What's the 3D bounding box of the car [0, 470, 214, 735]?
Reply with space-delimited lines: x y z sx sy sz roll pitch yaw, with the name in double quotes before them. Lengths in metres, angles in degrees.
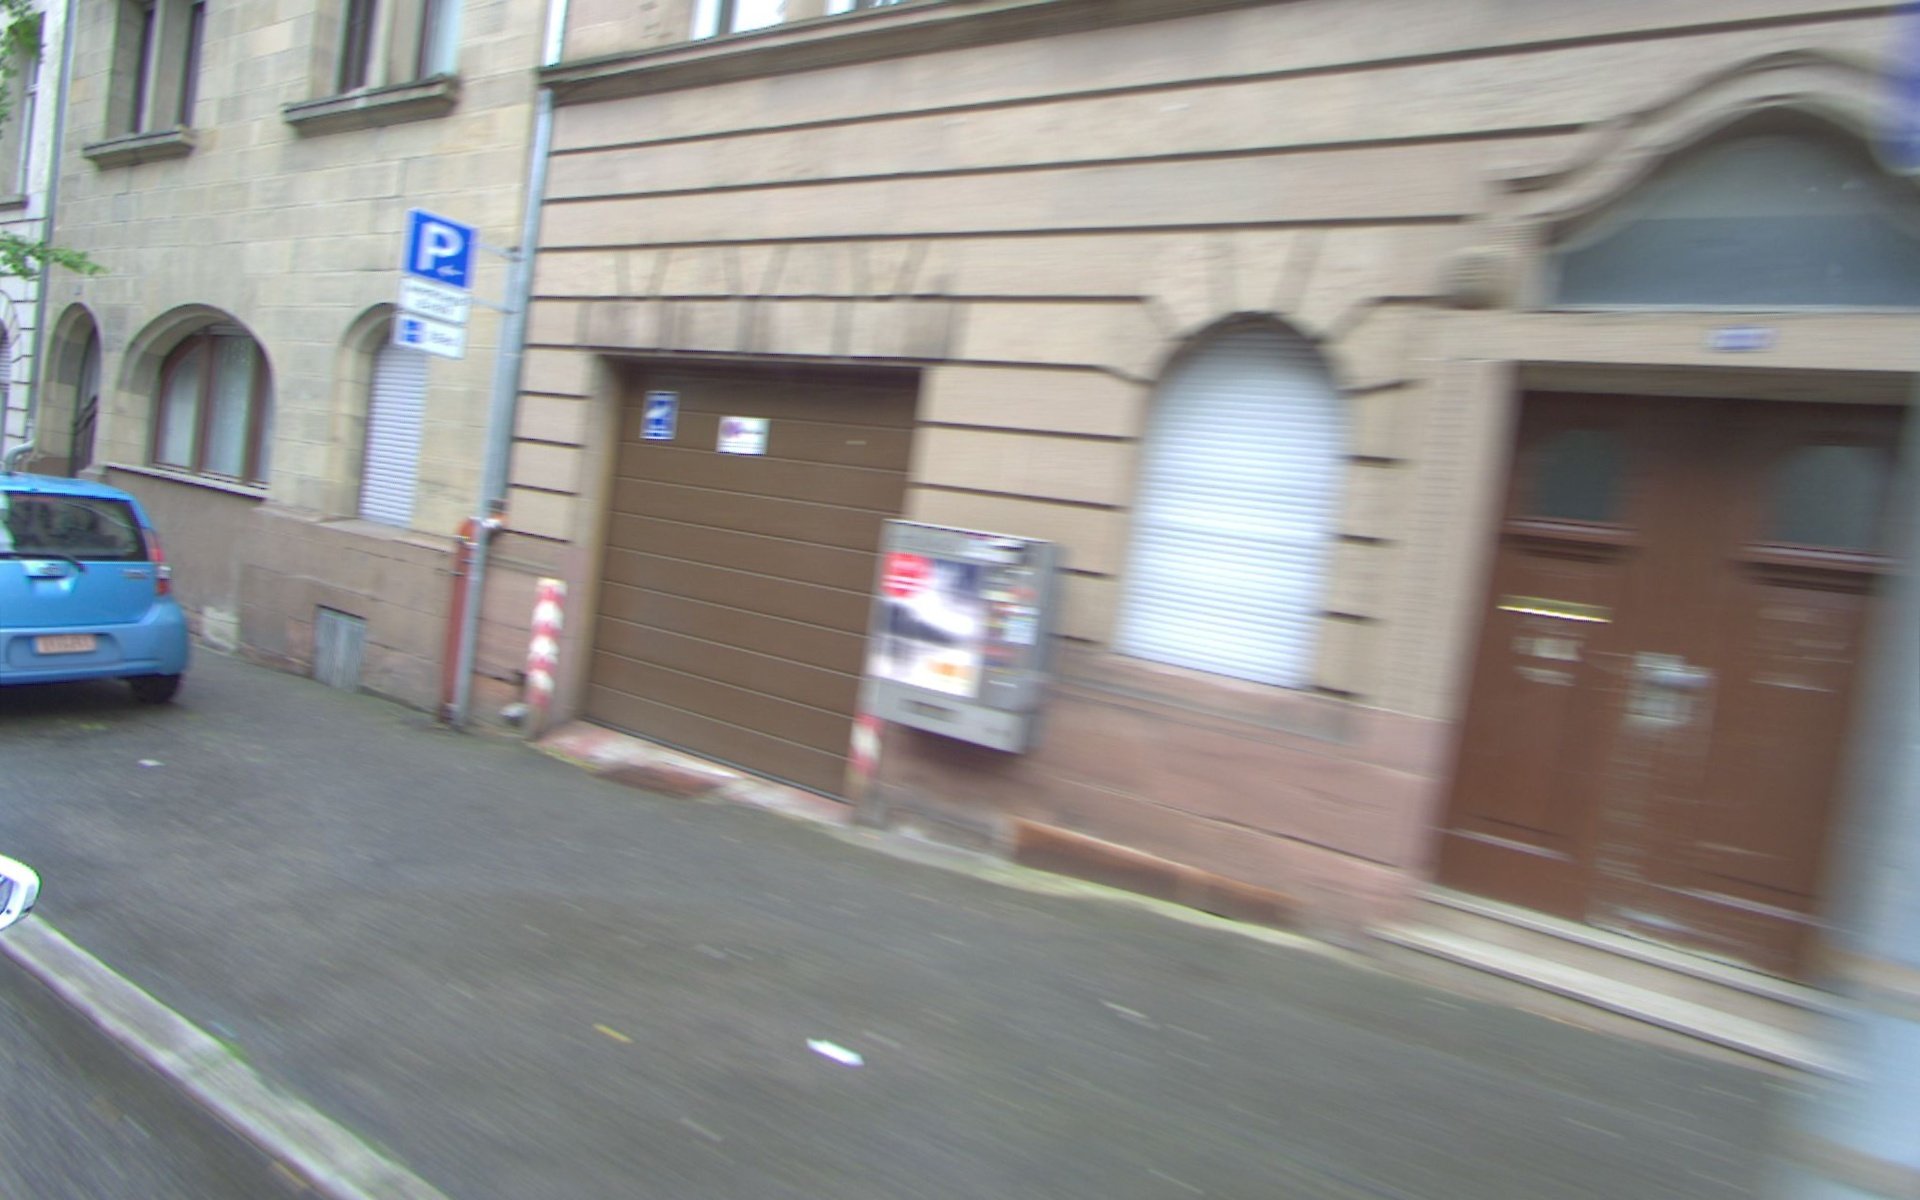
"car" -7.070 -0.150 7.027 3.603 1.563 1.657 7 2 30
